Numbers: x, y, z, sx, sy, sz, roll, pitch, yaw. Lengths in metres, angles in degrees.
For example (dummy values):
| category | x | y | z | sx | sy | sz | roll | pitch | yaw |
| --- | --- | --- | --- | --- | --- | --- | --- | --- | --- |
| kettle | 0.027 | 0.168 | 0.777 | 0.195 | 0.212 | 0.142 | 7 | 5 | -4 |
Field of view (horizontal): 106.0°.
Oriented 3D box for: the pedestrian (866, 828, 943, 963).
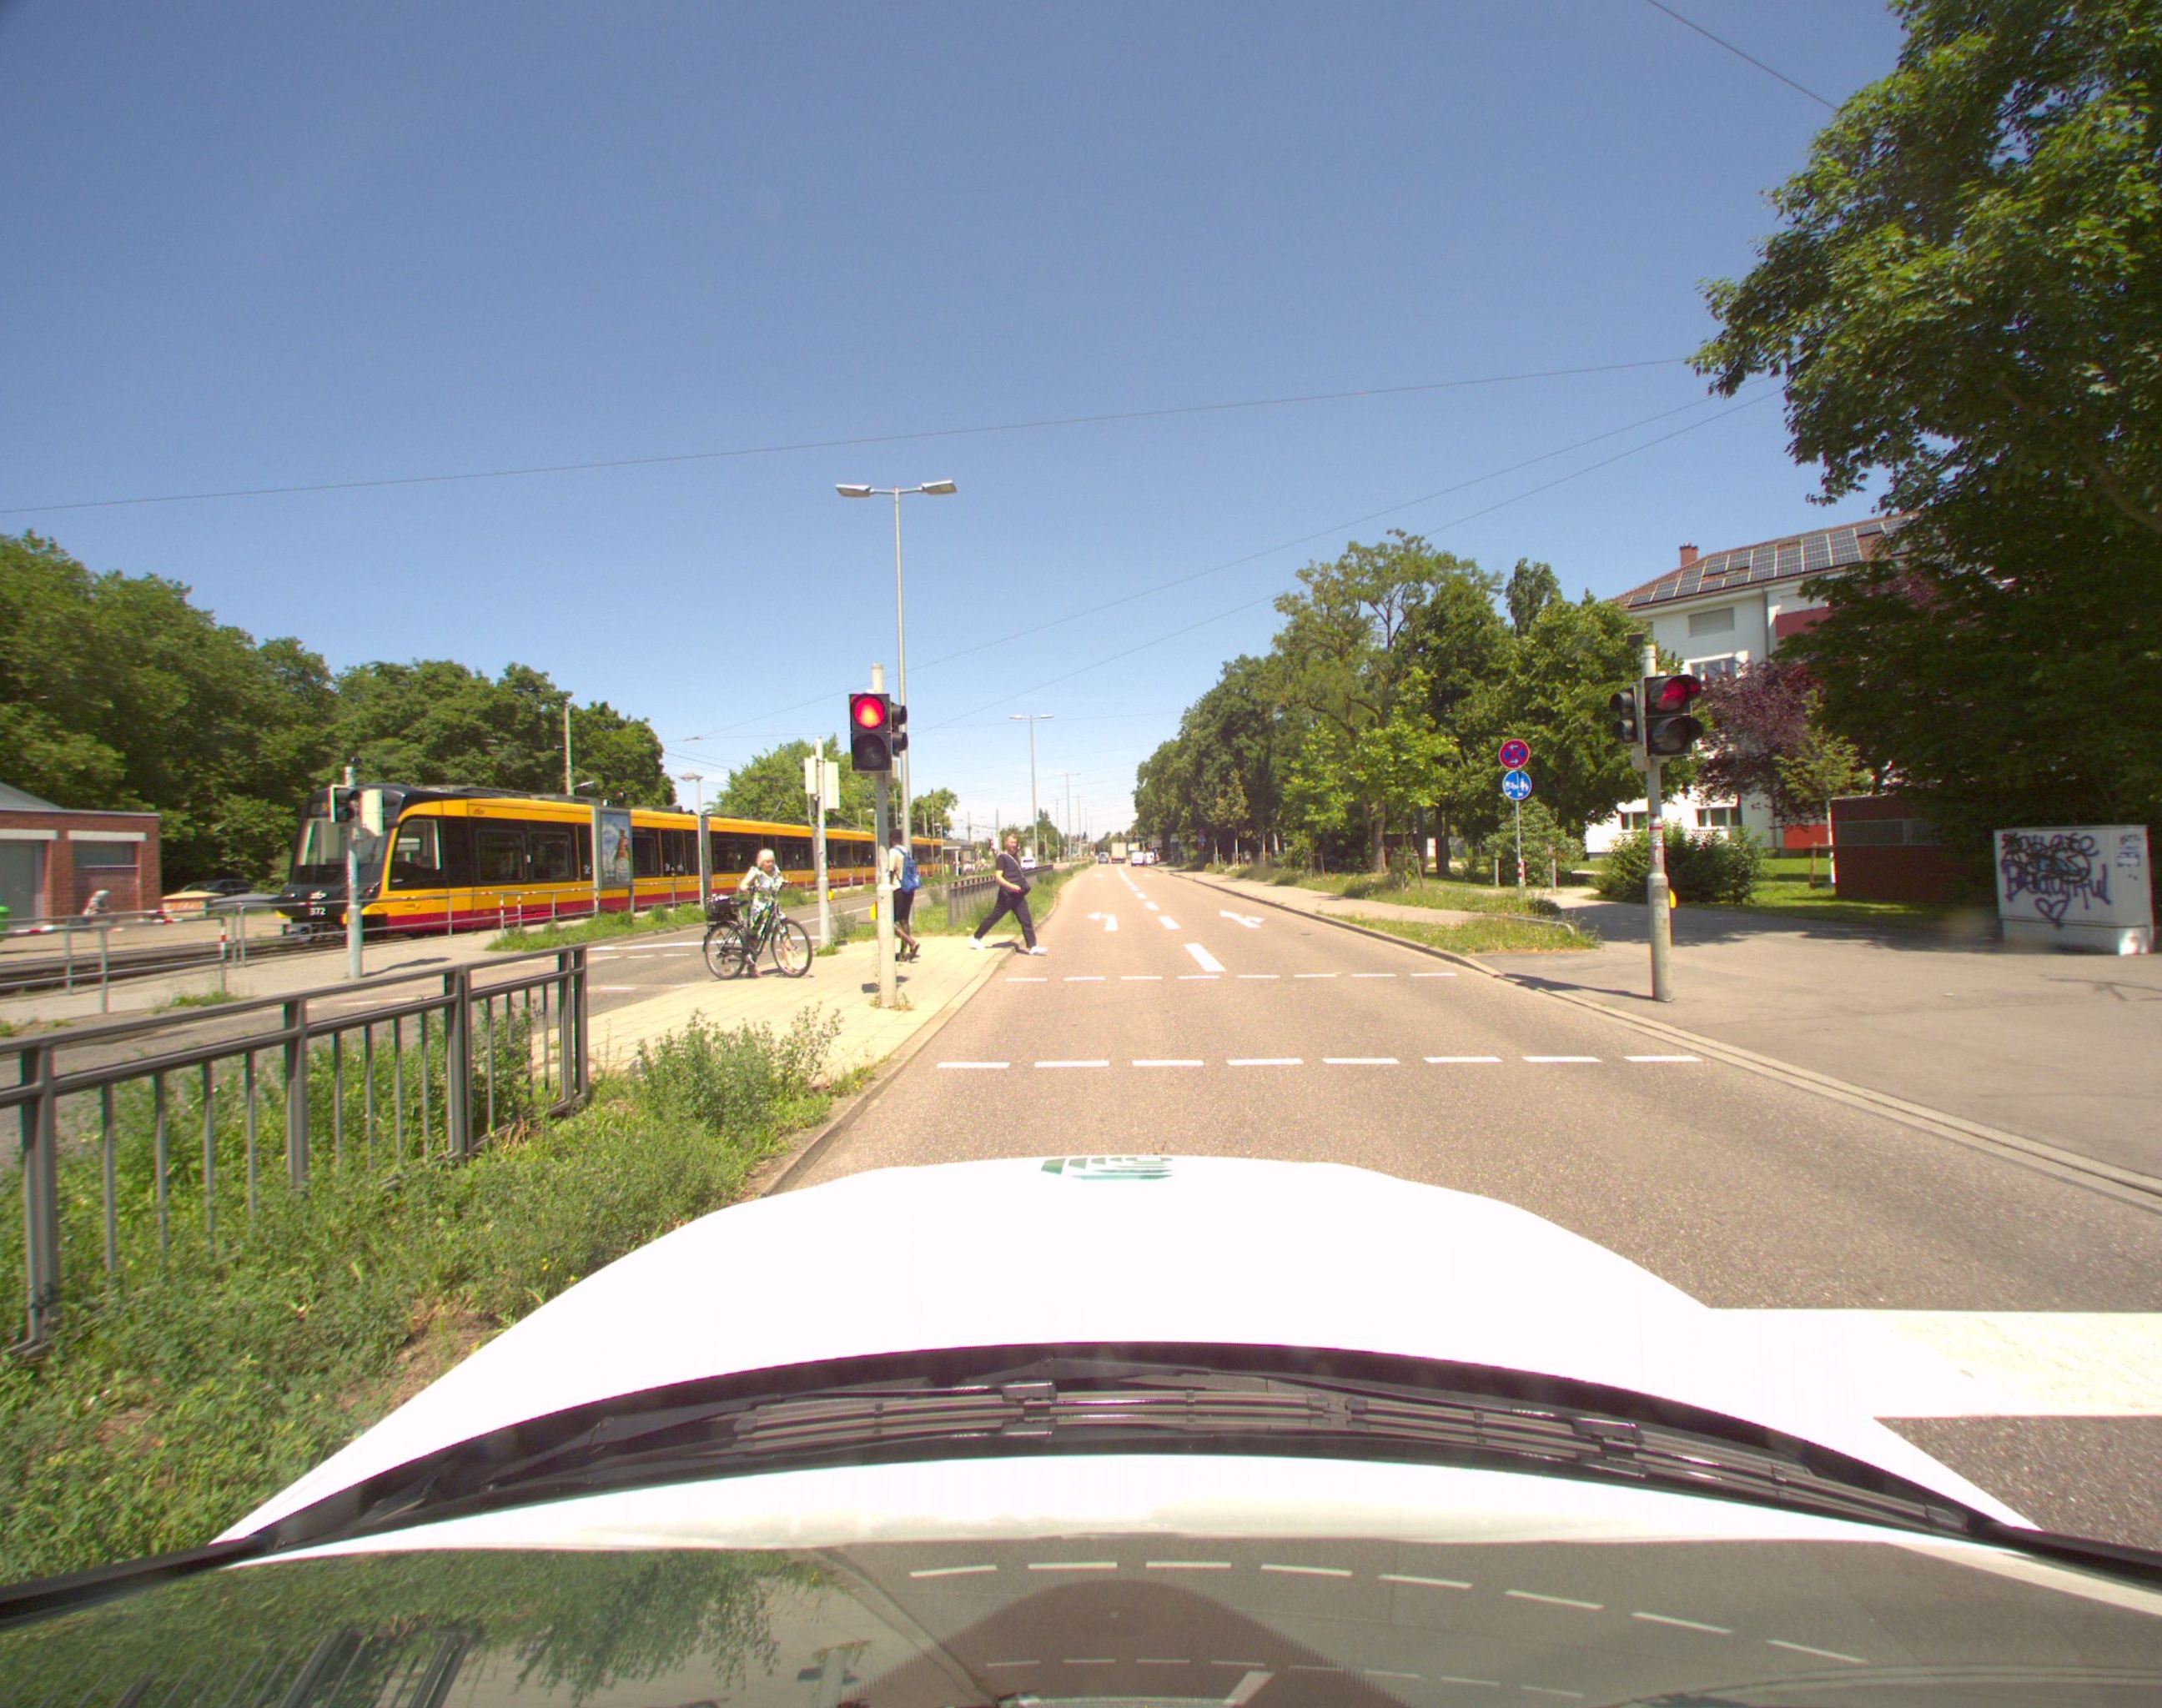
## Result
| category | x | y | z | sx | sy | sz | roll | pitch | yaw |
| --- | --- | --- | --- | --- | --- | --- | --- | --- | --- |
| pedestrian | -2.389 | 0.538 | 11.080 | 0.837 | 1.777 | 0.720 | -1 | 2 | 1 |

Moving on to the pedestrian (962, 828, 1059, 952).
| category | x | y | z | sx | sy | sz | roll | pitch | yaw |
| --- | --- | --- | --- | --- | --- | --- | --- | --- | --- |
| pedestrian | -1.071 | 0.536 | 12.330 | 1.173 | 1.778 | 0.845 | -2 | -2 | 32 |

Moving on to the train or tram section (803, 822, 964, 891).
| category | x | y | z | sx | sy | sz | roll | pitch | yaw |
| --- | --- | --- | --- | --- | --- | --- | --- | --- | --- |
| train or tram section | -13.432 | 0.157 | 62.121 | 2.919 | 3.789 | 33.105 | -2 | 0 | 2 |

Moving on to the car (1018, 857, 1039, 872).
| category | x | y | z | sx | sy | sz | roll | pitch | yaw |
| --- | --- | --- | --- | --- | --- | --- | --- | --- | --- |
| car | -5.593 | 1.065 | 87.023 | 1.838 | 1.494 | 3.793 | -2 | 0 | 2 |

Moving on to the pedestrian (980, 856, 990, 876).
| category | x | y | z | sx | sy | sz | roll | pitch | yaw |
| --- | --- | --- | --- | --- | --- | --- | --- | --- | --- |
| pedestrian | -9.905 | 1.230 | 84.083 | 0.812 | 2.013 | 0.939 | -2 | 0 | 1 |

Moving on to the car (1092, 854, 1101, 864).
| category | x | y | z | sx | sy | sz | roll | pitch | yaw |
| --- | --- | --- | --- | --- | --- | --- | --- | --- | --- |
| car | 3.343 | 1.069 | 175.347 | 1.986 | 2.013 | 4.002 | -2 | 0 | 2 |

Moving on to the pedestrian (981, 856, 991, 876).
| category | x | y | z | sx | sy | sz | roll | pitch | yaw |
| --- | --- | --- | --- | --- | --- | --- | --- | --- | --- |
| pedestrian | -9.957 | 1.240 | 85.174 | 0.812 | 2.013 | 0.939 | -2 | 0 | 1 |

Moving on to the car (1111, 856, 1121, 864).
| category | x | y | z | sx | sy | sz | roll | pitch | yaw |
| --- | --- | --- | --- | --- | --- | --- | --- | --- | --- |
| car | 6.501 | 1.120 | 153.703 | 1.804 | 1.464 | 4.002 | -2 | 0 | 2 |

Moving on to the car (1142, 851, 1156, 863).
| category | x | y | z | sx | sy | sz | roll | pitch | yaw |
| --- | --- | --- | --- | --- | --- | --- | --- | --- | --- |
| car | 9.918 | 0.442 | 118.776 | 1.773 | 1.668 | 4.002 | -2 | 0 | 2 |

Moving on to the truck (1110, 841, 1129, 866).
| category | x | y | z | sx | sy | sz | roll | pitch | yaw |
| --- | --- | --- | --- | --- | --- | --- | --- | --- | --- |
| truck | 6.789 | -0.105 | 146.207 | 3.193 | 4.359 | 6.563 | -2 | 0 | 2 |

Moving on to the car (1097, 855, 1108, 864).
| category | x | y | z | sx | sy | sz | roll | pitch | yaw |
| --- | --- | --- | --- | --- | --- | --- | --- | --- | --- |
| car | 3.718 | 1.011 | 141.025 | 1.804 | 1.464 | 4.002 | -2 | 0 | 2 |

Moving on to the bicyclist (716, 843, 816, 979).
| category | x | y | z | sx | sy | sz | roll | pitch | yaw |
| --- | --- | --- | --- | --- | --- | --- | --- | --- | --- |
| bicyclist | -4.046 | 0.729 | 10.476 | 0.949 | 1.666 | 0.583 | -3 | 0 | 20 |

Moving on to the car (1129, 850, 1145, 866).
| category | x | y | z | sx | sy | sz | roll | pitch | yaw |
| --- | --- | --- | --- | --- | --- | --- | --- | --- | --- |
| car | 7.184 | 0.531 | 104.543 | 1.773 | 1.903 | 4.002 | -2 | 0 | 2 |

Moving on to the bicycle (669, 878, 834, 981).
| category | x | y | z | sx | sy | sz | roll | pitch | yaw |
| --- | --- | --- | --- | --- | --- | --- | --- | --- | --- |
| bicycle | -4.067 | 0.937 | 10.048 | 1.941 | 1.161 | 0.544 | -3 | 0 | 19 |

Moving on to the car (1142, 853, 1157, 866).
| category | x | y | z | sx | sy | sz | roll | pitch | yaw |
| --- | --- | --- | --- | --- | --- | --- | --- | --- | --- |
| car | 9.395 | 0.701 | 112.435 | 1.773 | 1.668 | 4.002 | -2 | 0 | 2 |

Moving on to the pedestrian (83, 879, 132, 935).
| category | x | y | z | sx | sy | sz | roll | pitch | yaw |
| --- | --- | --- | --- | --- | --- | --- | --- | --- | --- |
| pedestrian | -26.768 | 1.445 | 22.403 | 0.636 | 1.480 | 0.570 | -2 | 0 | 1 |

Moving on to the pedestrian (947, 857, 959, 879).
| category | x | y | z | sx | sy | sz | roll | pitch | yaw |
| --- | --- | --- | --- | --- | --- | --- | --- | --- | --- |
| pedestrian | -10.975 | 1.194 | 69.746 | 0.783 | 1.868 | 0.818 | -2 | 0 | 1 |

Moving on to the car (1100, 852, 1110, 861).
| category | x | y | z | sx | sy | sz | roll | pitch | yaw |
| --- | --- | --- | --- | --- | --- | --- | --- | --- | --- |
| car | 4.901 | 0.529 | 163.598 | 1.986 | 1.816 | 4.001 | 0 | -1 | 2 |

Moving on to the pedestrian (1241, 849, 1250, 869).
| category | x | y | z | sx | sy | sz | roll | pitch | yaw |
| --- | --- | --- | --- | --- | --- | --- | --- | --- | --- |
| pedestrian | 11.959 | 0.392 | 59.120 | 0.600 | 1.438 | 0.557 | -2 | 0 | 8 |

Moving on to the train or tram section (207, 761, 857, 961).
| category | x | y | z | sx | sy | sz | roll | pitch | yaw |
| --- | --- | --- | --- | --- | --- | --- | --- | --- | --- |
| train or tram section | -14.663 | 0.128 | 30.604 | 2.946 | 3.749 | 30.048 | -2 | 0 | 2 |
